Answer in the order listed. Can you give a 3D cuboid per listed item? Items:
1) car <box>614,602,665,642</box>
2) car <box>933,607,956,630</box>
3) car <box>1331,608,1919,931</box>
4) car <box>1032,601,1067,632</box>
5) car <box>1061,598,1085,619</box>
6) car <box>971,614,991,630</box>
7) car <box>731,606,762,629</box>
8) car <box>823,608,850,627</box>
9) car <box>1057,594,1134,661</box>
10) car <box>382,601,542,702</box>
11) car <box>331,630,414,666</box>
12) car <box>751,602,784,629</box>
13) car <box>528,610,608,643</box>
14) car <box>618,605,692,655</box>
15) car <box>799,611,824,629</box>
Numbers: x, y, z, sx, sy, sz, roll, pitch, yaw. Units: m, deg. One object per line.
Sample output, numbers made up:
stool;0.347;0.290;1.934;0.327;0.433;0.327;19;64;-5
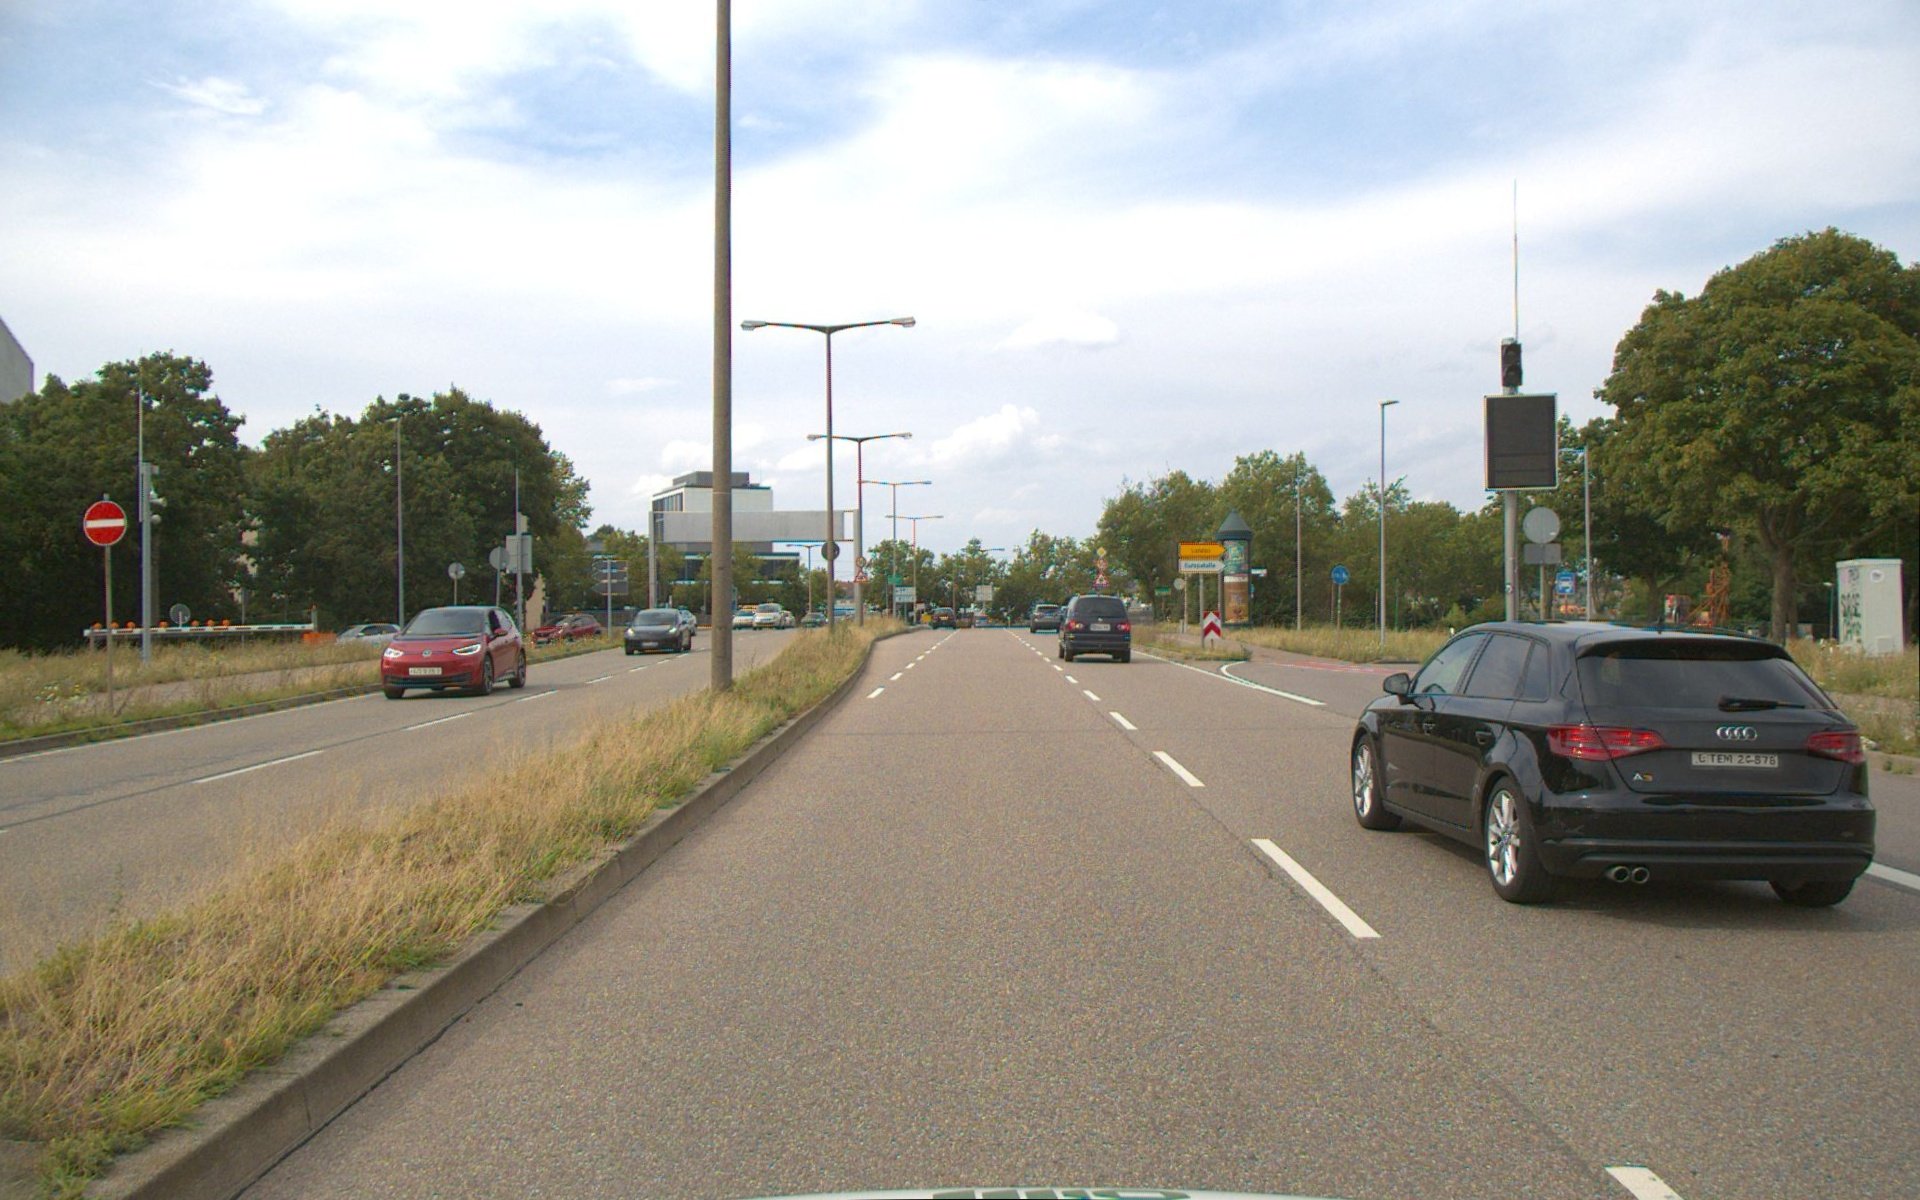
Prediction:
car;-17.116;1.146;88.536;1.953;2.049;4.000;1;1;-1
car;-1.147;1.386;125.058;1.695;1.682;4.114;0;0;-1
car;3.544;0.788;9.598;1.696;1.419;4.113;1;0;-2
car;5.092;0.926;94.565;1.695;1.682;4.114;0;0;-1
car;8.231;0.606;121.007;1.476;1.472;3.139;1;1;-1
car;2.083;2.146;164.841;1.696;1.553;4.112;0;0;-4
car;-15.210;1.211;118.022;1.631;1.443;4.093;-2;1;1
car;-10.178;1.450;136.464;1.631;1.450;4.520;-2;-1;3
car;3.578;0.703;44.291;1.695;1.682;4.114;0;0;-1
car;-8.950;0.874;30.066;1.618;1.602;4.337;-3;0;-1
car;-23.050;1.863;64.951;1.244;1.296;3.005;-1;0;28
car;-12.273;0.993;105.740;1.710;1.626;4.563;-1;0;-2
car;-17.900;1.195;75.721;1.481;1.392;4.180;-1;0;20
car;-10.122;0.960;55.172;1.710;1.501;4.564;-1;0;-1
car;-13.466;1.795;150.316;1.756;1.551;4.594;-2;-1;0
